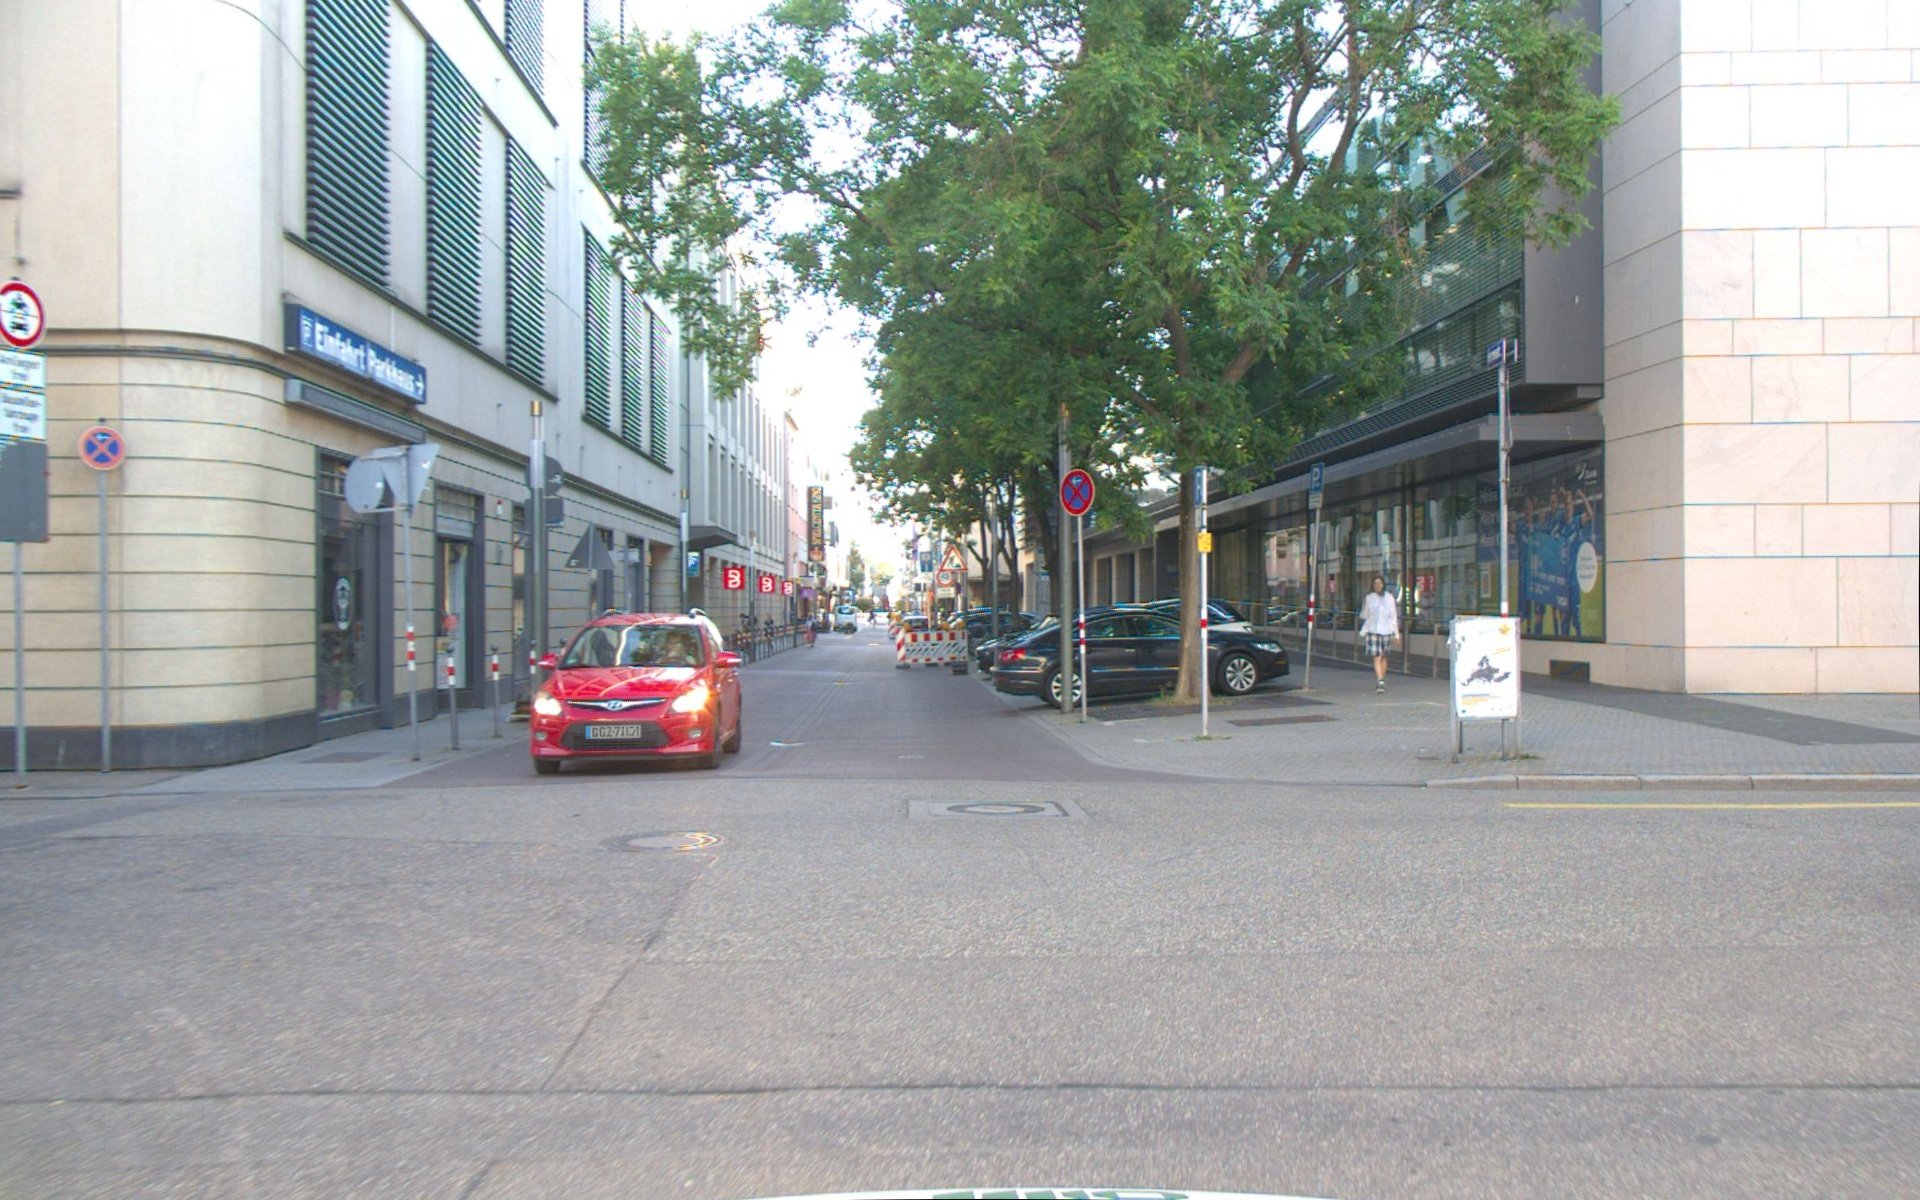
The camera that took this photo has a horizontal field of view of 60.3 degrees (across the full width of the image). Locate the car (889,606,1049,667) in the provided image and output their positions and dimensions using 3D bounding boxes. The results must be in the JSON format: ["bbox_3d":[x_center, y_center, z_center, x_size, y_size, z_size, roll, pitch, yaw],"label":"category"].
[{"bbox_3d":[0.251,1.159,52.780,4.907,1.525,1.998,-4,-1,-5],"label":"car"}]

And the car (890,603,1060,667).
[{"bbox_3d":[0.415,1.047,50.240,4.907,1.525,1.998,-4,-1,-5],"label":"car"}]

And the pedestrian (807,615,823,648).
[{"bbox_3d":[-7.151,1.549,81.726,0.717,1.601,0.636,0,-1,-2],"label":"pedestrian"}]

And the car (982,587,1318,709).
[{"bbox_3d":[2.922,0.744,26.096,4.907,1.477,1.998,-4,-1,-5],"label":"car"}]

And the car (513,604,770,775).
[{"bbox_3d":[-3.065,0.868,16.792,1.785,1.491,4.263,0,-2,0],"label":"car"}]

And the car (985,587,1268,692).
[{"bbox_3d":[3.043,0.727,30.904,4.907,1.525,1.998,-4,-1,-5],"label":"car"}]

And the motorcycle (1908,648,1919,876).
[{"bbox_3d":[5.726,0.809,8.204,1.808,1.129,0.869,1,-1,-23],"label":"motorcycle"}]

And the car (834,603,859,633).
[{"bbox_3d":[-9.515,1.491,138.113,1.954,2.370,5.016,1,0,-4],"label":"car"}]

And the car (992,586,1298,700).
[{"bbox_3d":[3.135,0.728,28.696,4.907,1.525,1.998,-4,-1,-5],"label":"car"}]

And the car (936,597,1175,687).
[{"bbox_3d":[2.022,0.899,36.132,4.907,1.525,1.998,-4,-1,-5],"label":"car"}]

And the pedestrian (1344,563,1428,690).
[{"bbox_3d":[6.109,0.376,23.752,0.887,1.735,0.834,-3,-1,-1],"label":"pedestrian"}]
